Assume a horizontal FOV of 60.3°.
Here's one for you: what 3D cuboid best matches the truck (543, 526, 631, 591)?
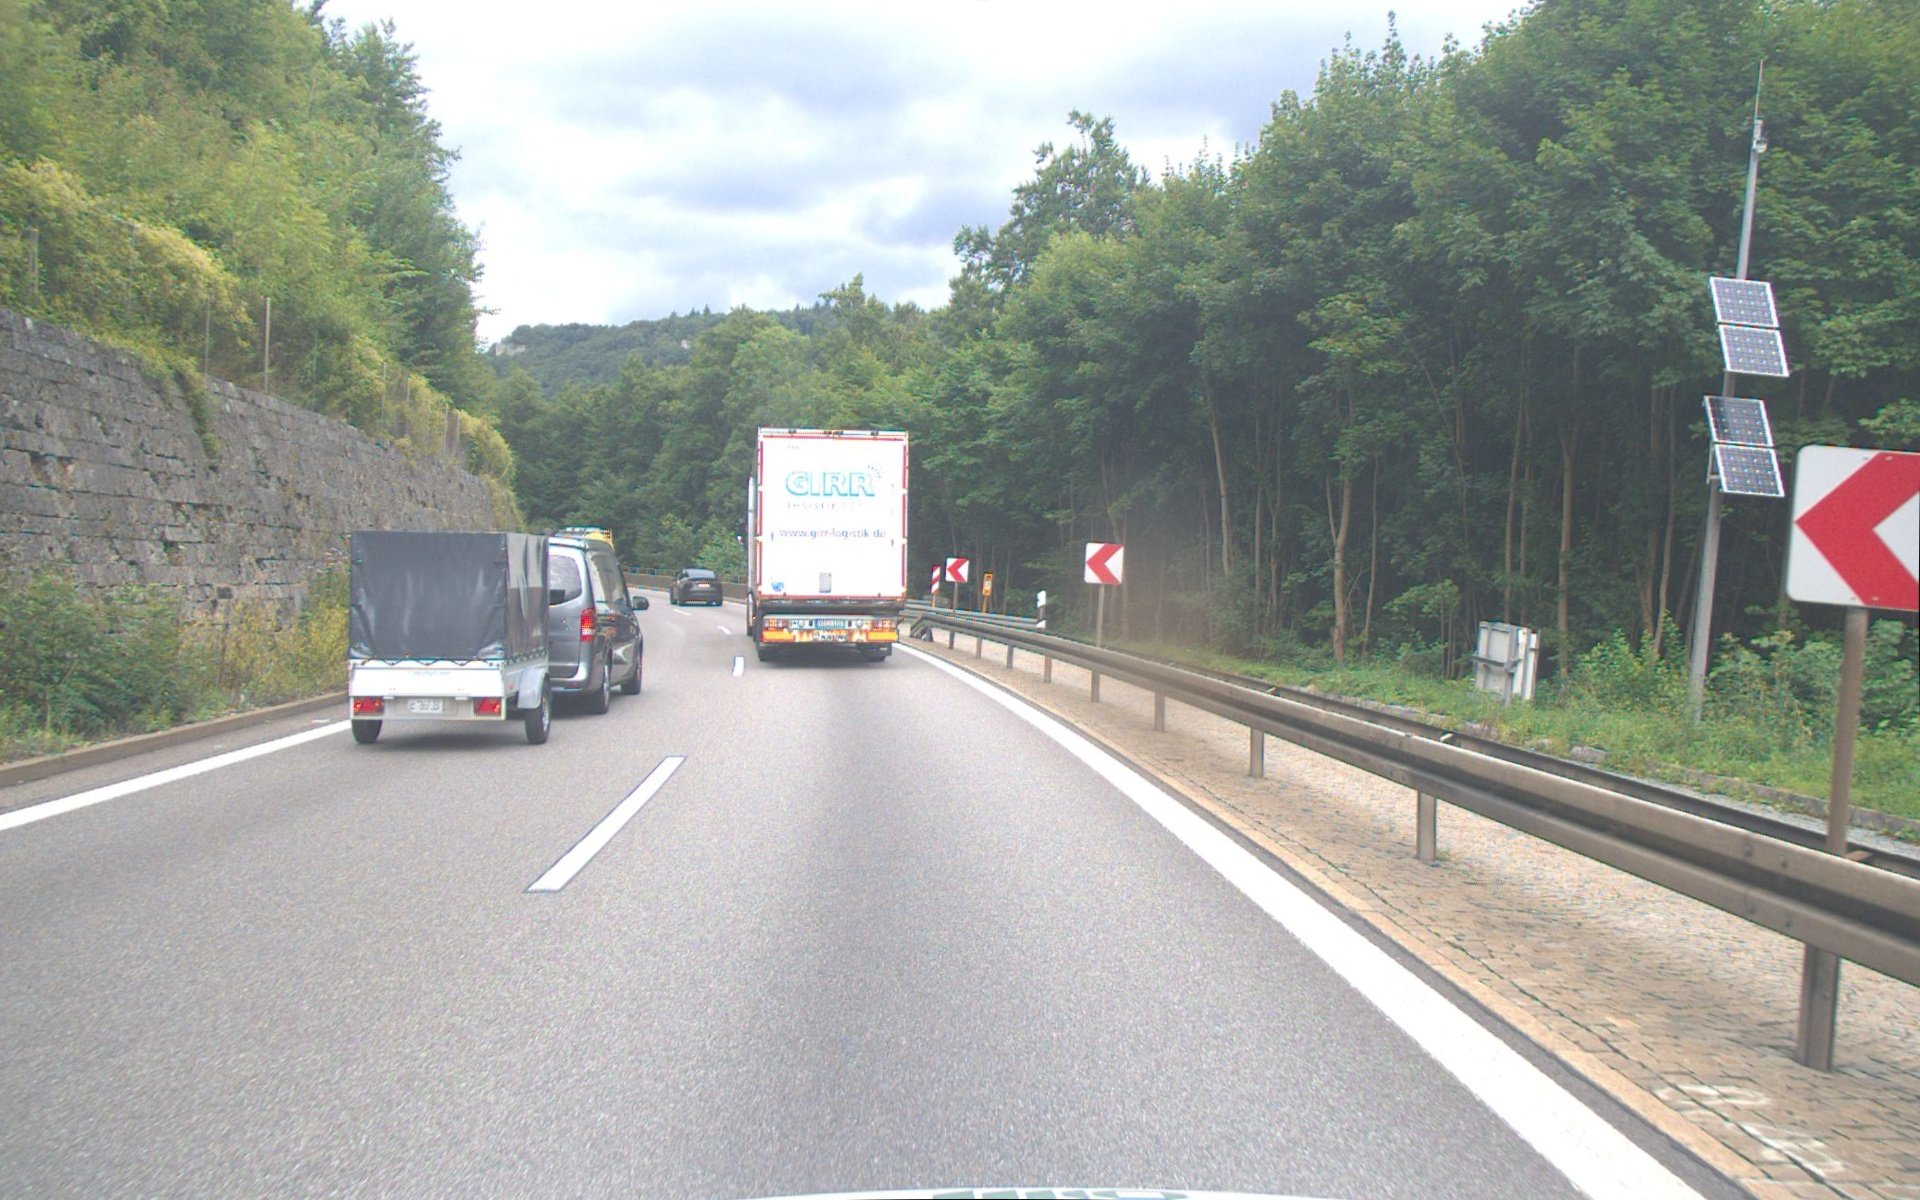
[{"bbox_3d":[-24.827,-2.772,109.555,3.018,4.055,13.594,0,2,-24],"label":"truck"}]

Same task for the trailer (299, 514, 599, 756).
[{"bbox_3d":[-4.565,0.271,15.308,1.932,1.973,3.427,1,1,-5],"label":"trailer"}]

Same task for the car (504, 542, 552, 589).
[{"bbox_3d":[-26.657,-2.152,101.931,1.914,2.718,5.948,3,1,-24],"label":"car"}]

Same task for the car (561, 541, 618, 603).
[{"bbox_3d":[-17.659,-1.364,78.613,1.958,2.718,6.902,3,1,-18],"label":"car"}]

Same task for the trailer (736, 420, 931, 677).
[{"bbox_3d":[-2.888,-1.086,33.275,3.000,4.054,12.118,3,2,-8],"label":"trailer"}]

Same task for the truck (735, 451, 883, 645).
[{"bbox_3d":[-3.765,-1.259,39.637,3.000,4.054,7.176,3,2,-8],"label":"truck"}]

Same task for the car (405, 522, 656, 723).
[{"bbox_3d":[-4.918,0.200,19.760,1.954,2.049,5.535,1,1,-5],"label":"car"}]

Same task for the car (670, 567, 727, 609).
[{"bbox_3d":[-11.630,-0.558,73.270,1.961,1.691,3.983,3,1,-16],"label":"car"}]
